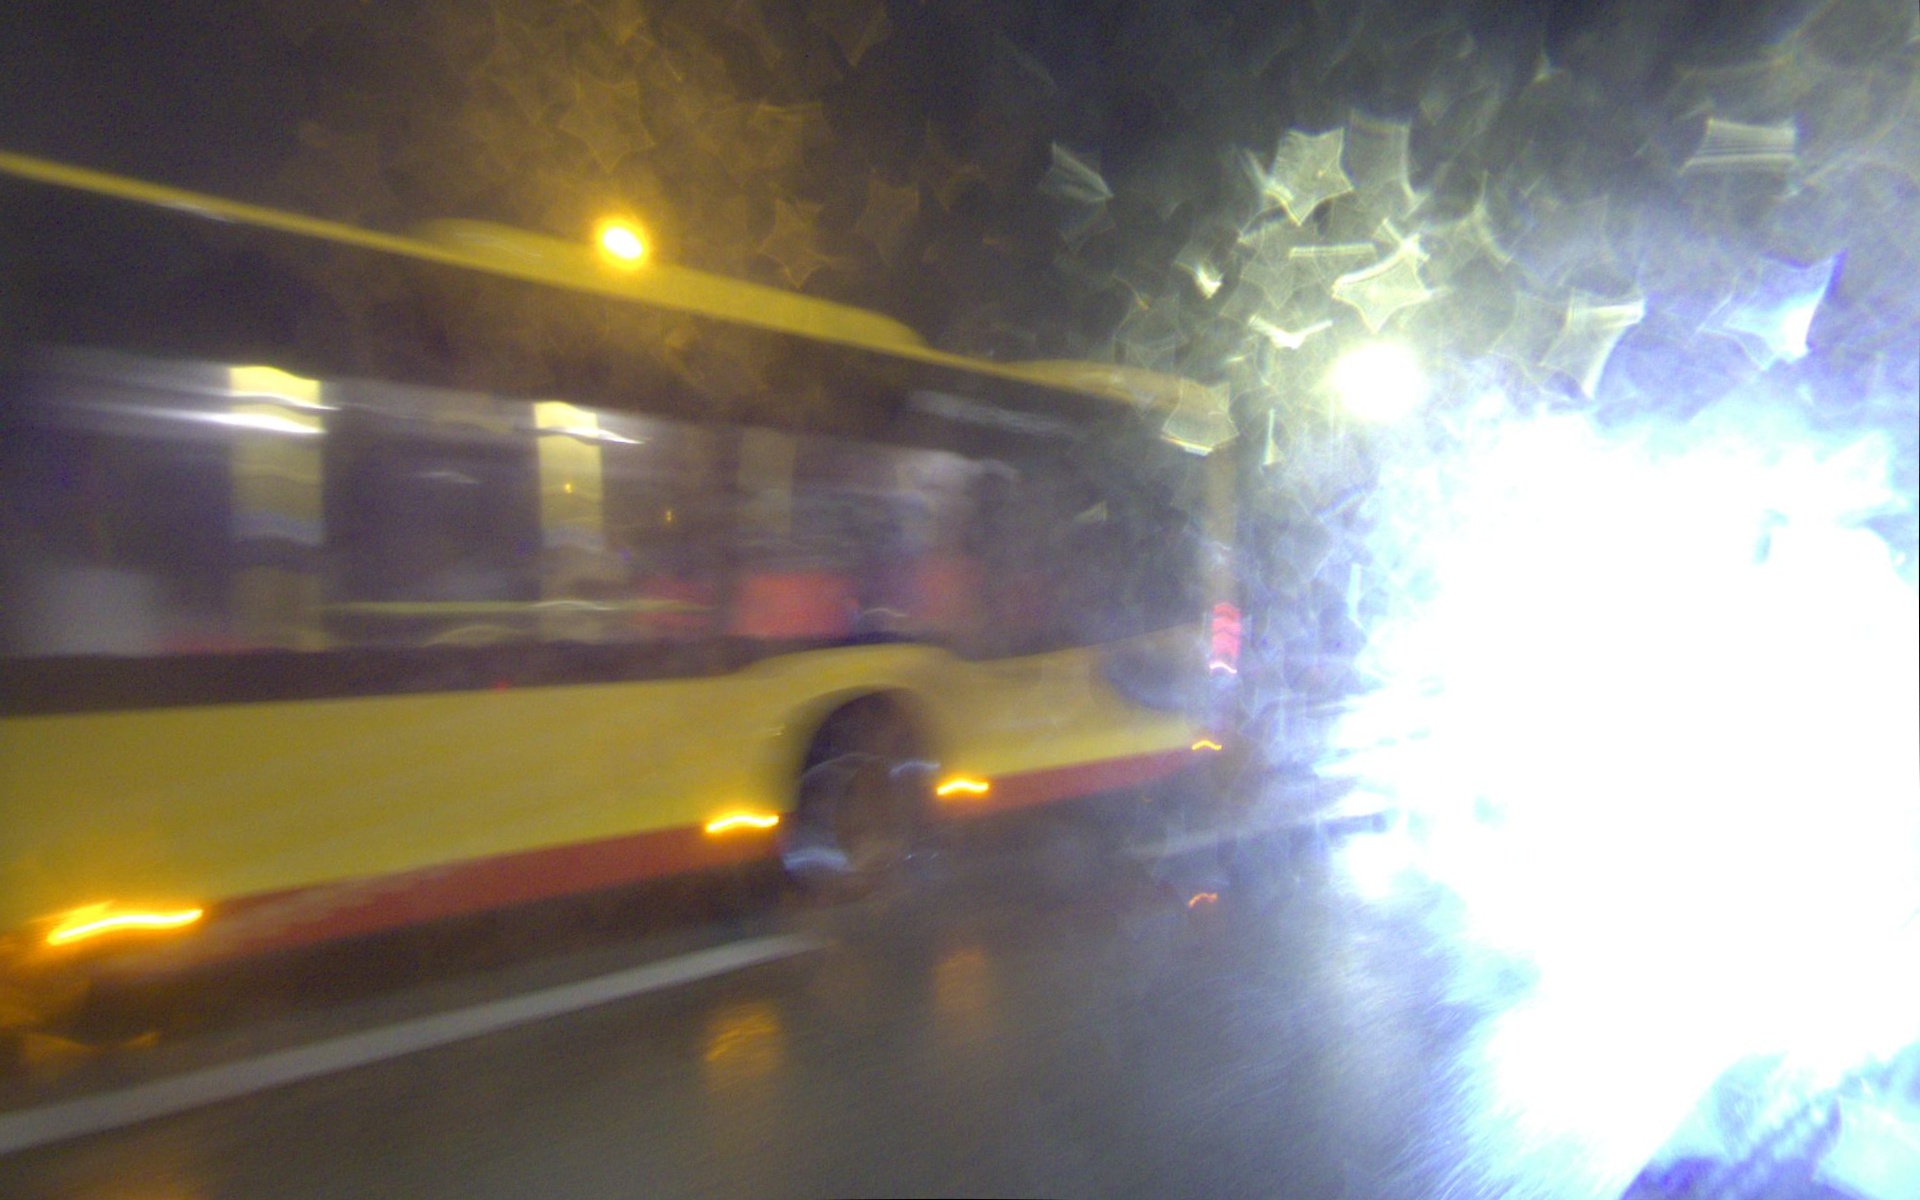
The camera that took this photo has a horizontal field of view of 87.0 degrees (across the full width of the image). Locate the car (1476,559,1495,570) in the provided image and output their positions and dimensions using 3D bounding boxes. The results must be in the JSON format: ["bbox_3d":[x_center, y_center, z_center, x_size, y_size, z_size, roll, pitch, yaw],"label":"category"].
[{"bbox_3d":[76.685,-5.162,147.621,1.747,1.475,3.933,-2,2,17],"label":"car"}]

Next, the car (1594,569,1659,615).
[{"bbox_3d":[28.890,-0.363,43.991,1.920,1.896,3.962,1,1,27],"label":"car"}]

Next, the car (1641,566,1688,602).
[{"bbox_3d":[41.570,-0.951,59.818,1.986,1.957,3.954,4,3,32],"label":"car"}]

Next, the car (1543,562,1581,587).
[{"bbox_3d":[50.435,-2.189,84.824,1.976,1.957,3.973,3,3,21],"label":"car"}]

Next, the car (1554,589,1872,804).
[{"bbox_3d":[7.090,0.694,9.428,1.992,1.544,3.940,-1,0,41],"label":"car"}]

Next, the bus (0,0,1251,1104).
[{"bbox_3d":[-2.234,-0.172,5.465,8.893,3.253,3.048,0,0,-42],"label":"bus"}]

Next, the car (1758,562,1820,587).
[{"bbox_3d":[54.322,-1.723,66.425,1.851,1.481,4.605,2,3,23],"label":"car"}]
